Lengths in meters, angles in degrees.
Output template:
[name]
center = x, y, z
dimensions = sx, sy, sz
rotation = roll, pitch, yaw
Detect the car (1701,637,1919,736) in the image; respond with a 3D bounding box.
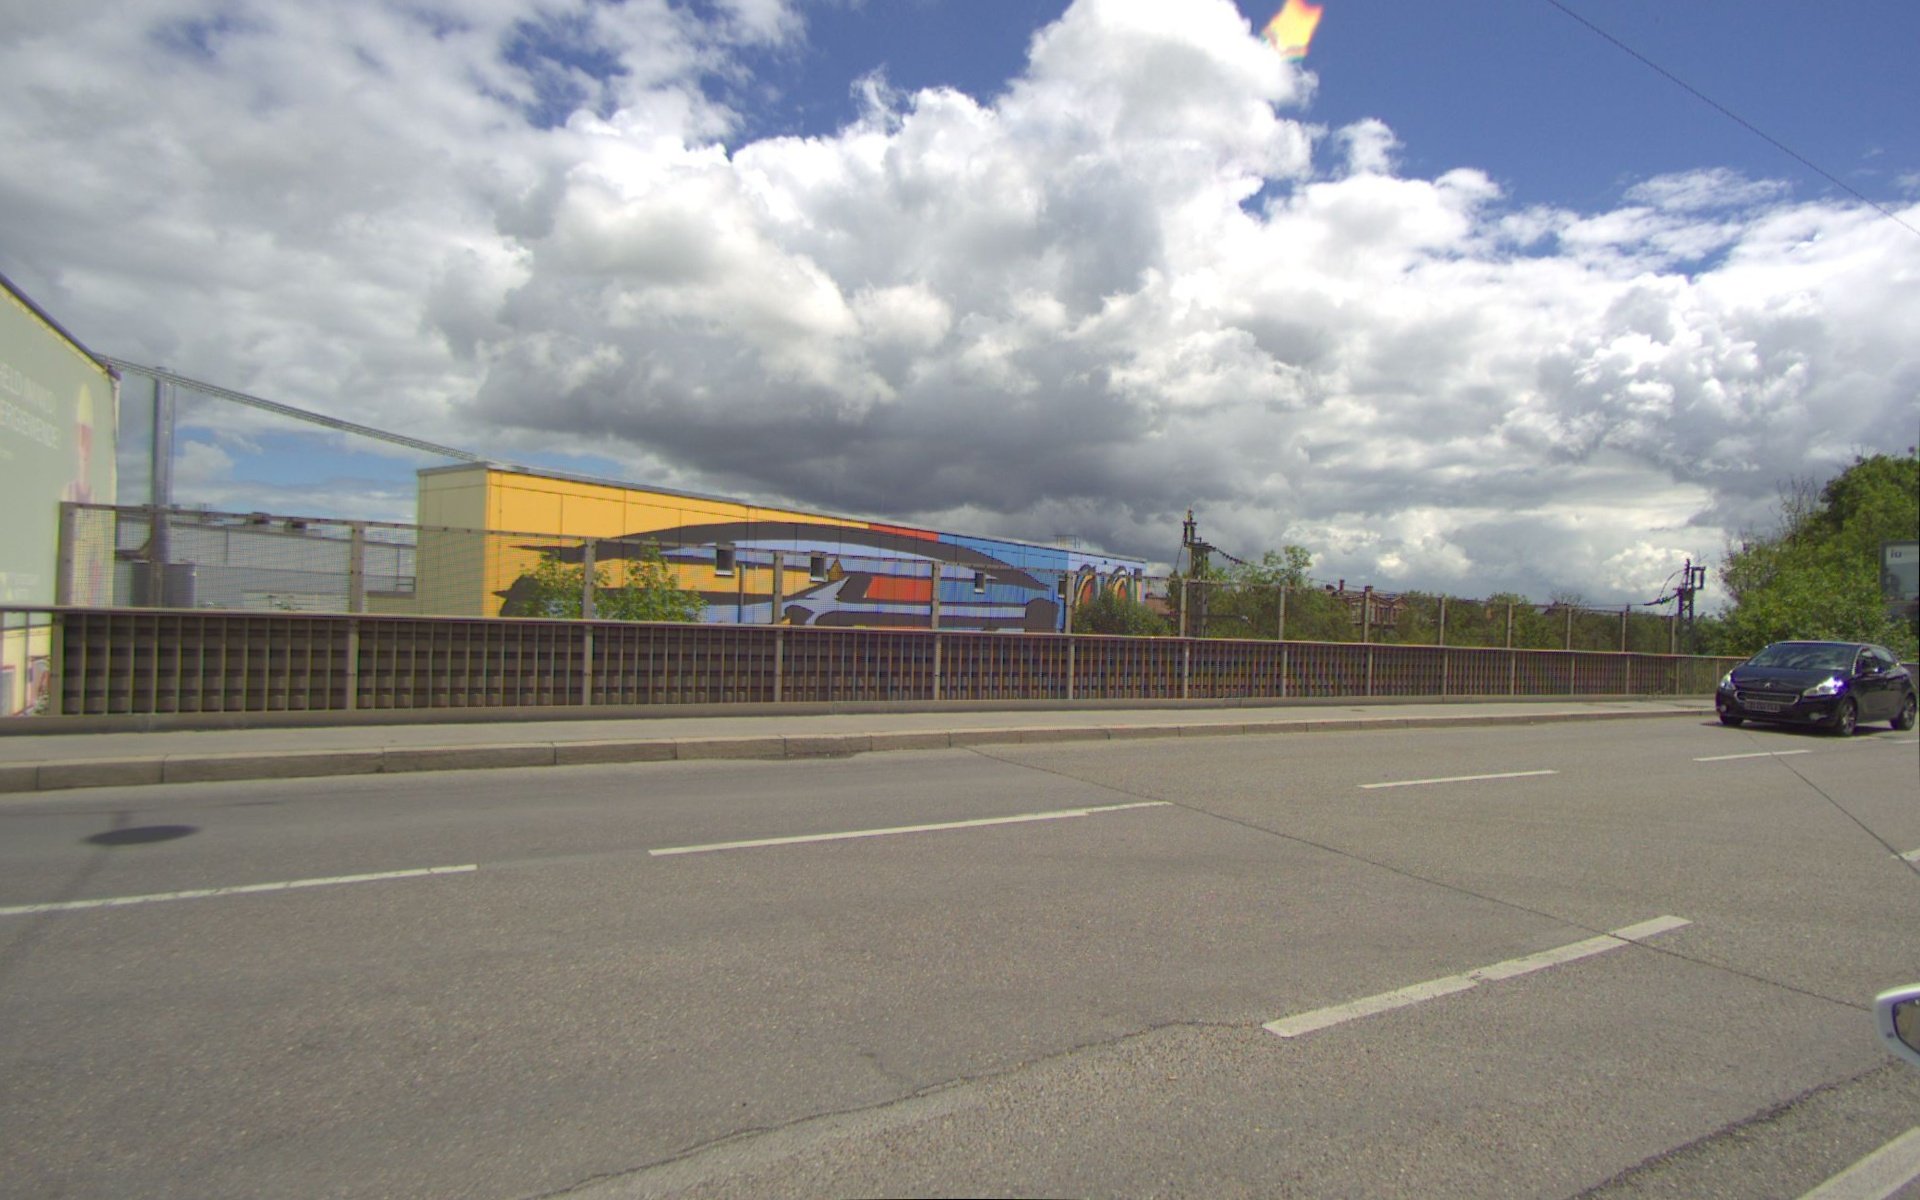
[car]
center = 14.328, 1.410, 16.869
dimensions = 3.954, 1.449, 1.620
rotation = 3, -1, -31
